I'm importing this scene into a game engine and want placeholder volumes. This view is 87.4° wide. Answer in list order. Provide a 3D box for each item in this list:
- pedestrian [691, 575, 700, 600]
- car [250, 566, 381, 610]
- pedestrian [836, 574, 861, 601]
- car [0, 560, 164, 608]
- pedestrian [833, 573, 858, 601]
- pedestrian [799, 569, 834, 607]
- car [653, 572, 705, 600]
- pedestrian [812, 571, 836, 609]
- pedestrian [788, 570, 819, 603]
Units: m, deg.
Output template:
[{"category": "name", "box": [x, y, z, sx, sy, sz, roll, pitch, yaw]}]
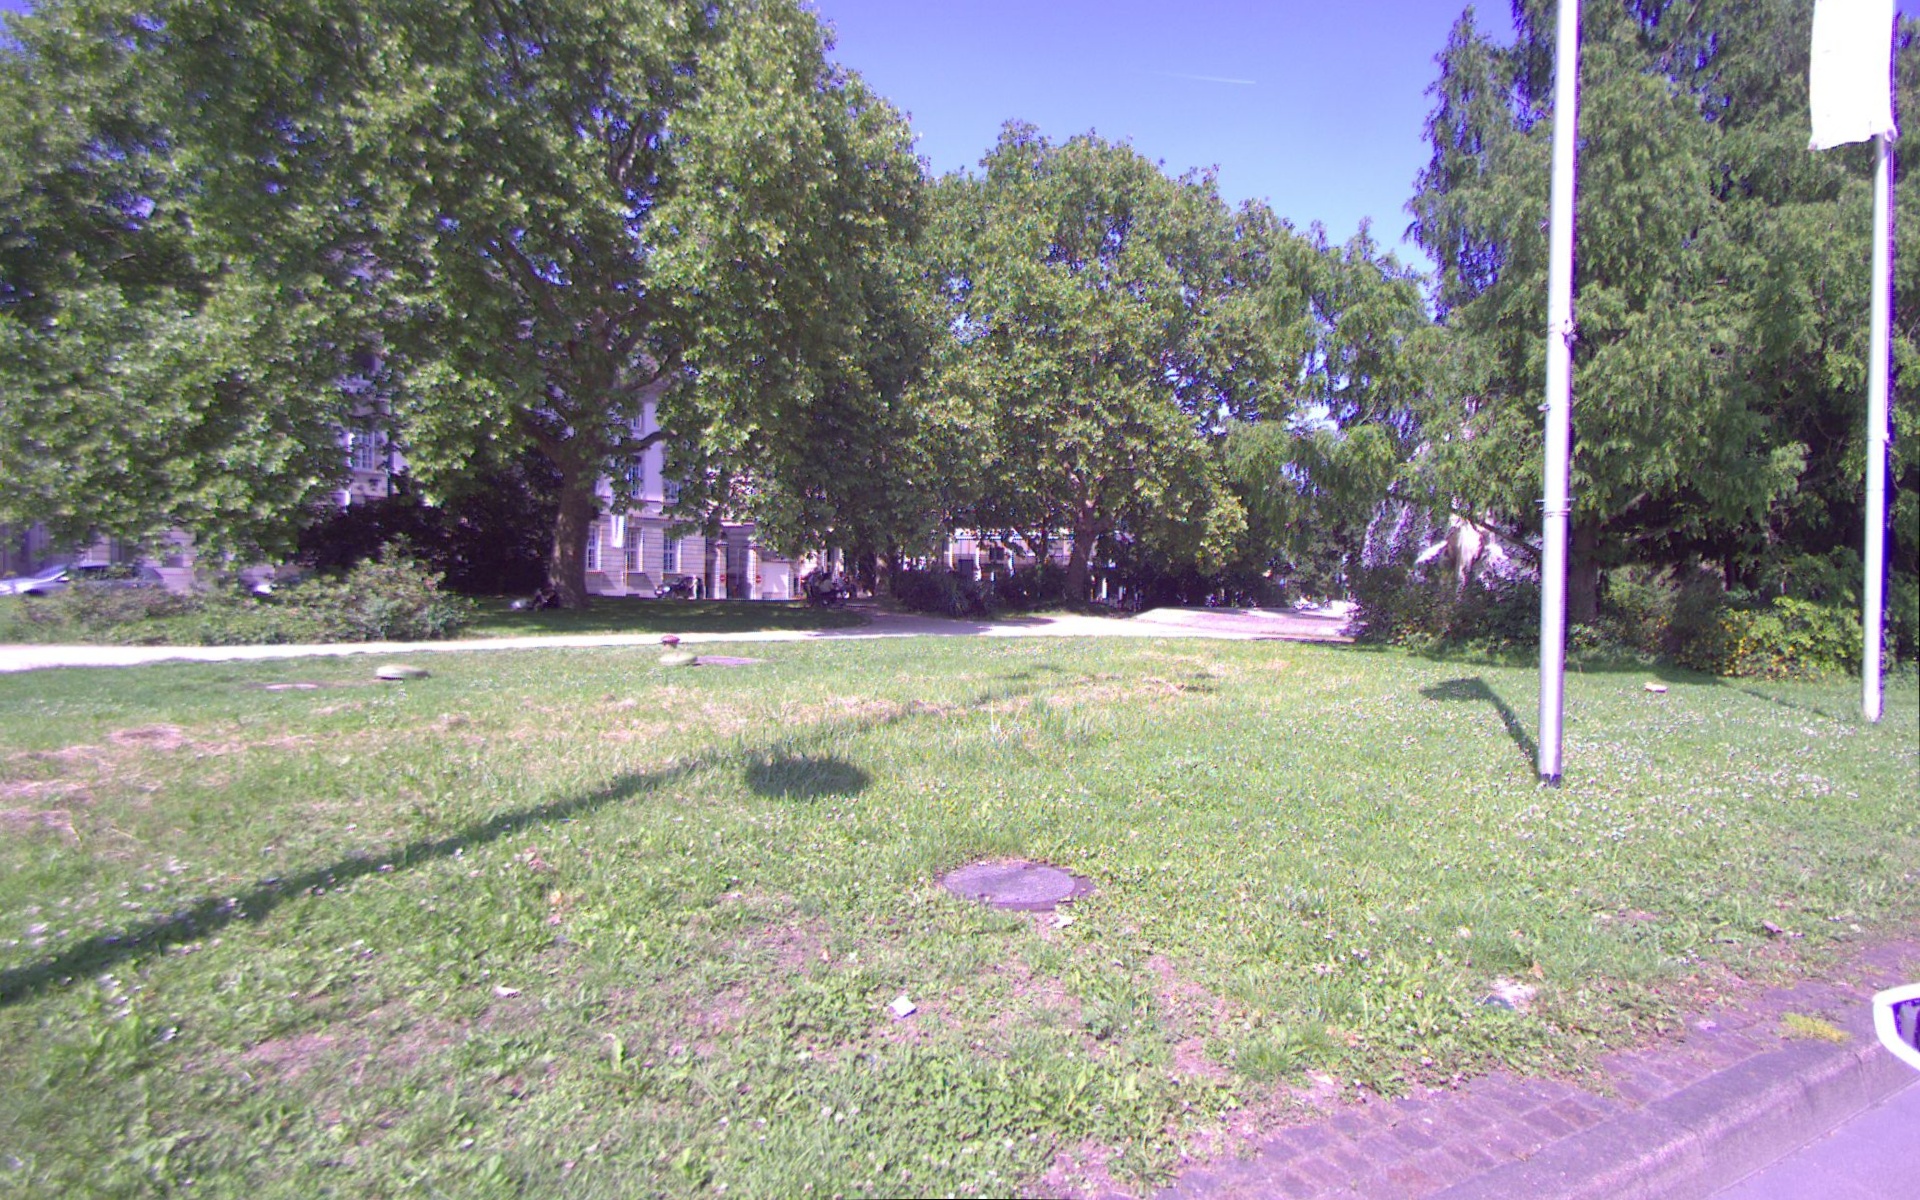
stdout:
[{"category": "pedestrian", "box": [-17.653, -0.808, 67.035, 0.486, 1.646, 0.376, 1, 1, -30]}, {"category": "car", "box": [-22.609, -0.420, 35.338, 1.584, 1.398, 3.576, 3, 2, 32]}, {"category": "pedestrian", "box": [-5.298, -0.606, 47.728, 1.037, 1.242, 0.756, 2, 2, 1]}, {"category": "car", "box": [-25.943, -0.463, 29.617, 1.584, 1.286, 3.576, 3, 2, 32]}, {"category": "pedestrian", "box": [-5.350, -0.605, 46.891, 1.037, 1.242, 0.756, 2, 2, 1]}, {"category": "pedestrian", "box": [-4.865, -0.418, 34.022, 1.041, 1.242, 0.753, 1, 2, -17]}, {"category": "car", "box": [-18.842, -0.923, 67.506, 1.841, 1.824, 4.002, 2, 0, 8]}, {"category": "pedestrian", "box": [-4.539, -0.330, 33.414, 0.659, 1.242, 0.754, 1, 2, -17]}, {"category": "pedestrian", "box": [-6.039, -0.523, 38.758, 1.041, 1.242, 0.753, 1, 2, -17]}]
